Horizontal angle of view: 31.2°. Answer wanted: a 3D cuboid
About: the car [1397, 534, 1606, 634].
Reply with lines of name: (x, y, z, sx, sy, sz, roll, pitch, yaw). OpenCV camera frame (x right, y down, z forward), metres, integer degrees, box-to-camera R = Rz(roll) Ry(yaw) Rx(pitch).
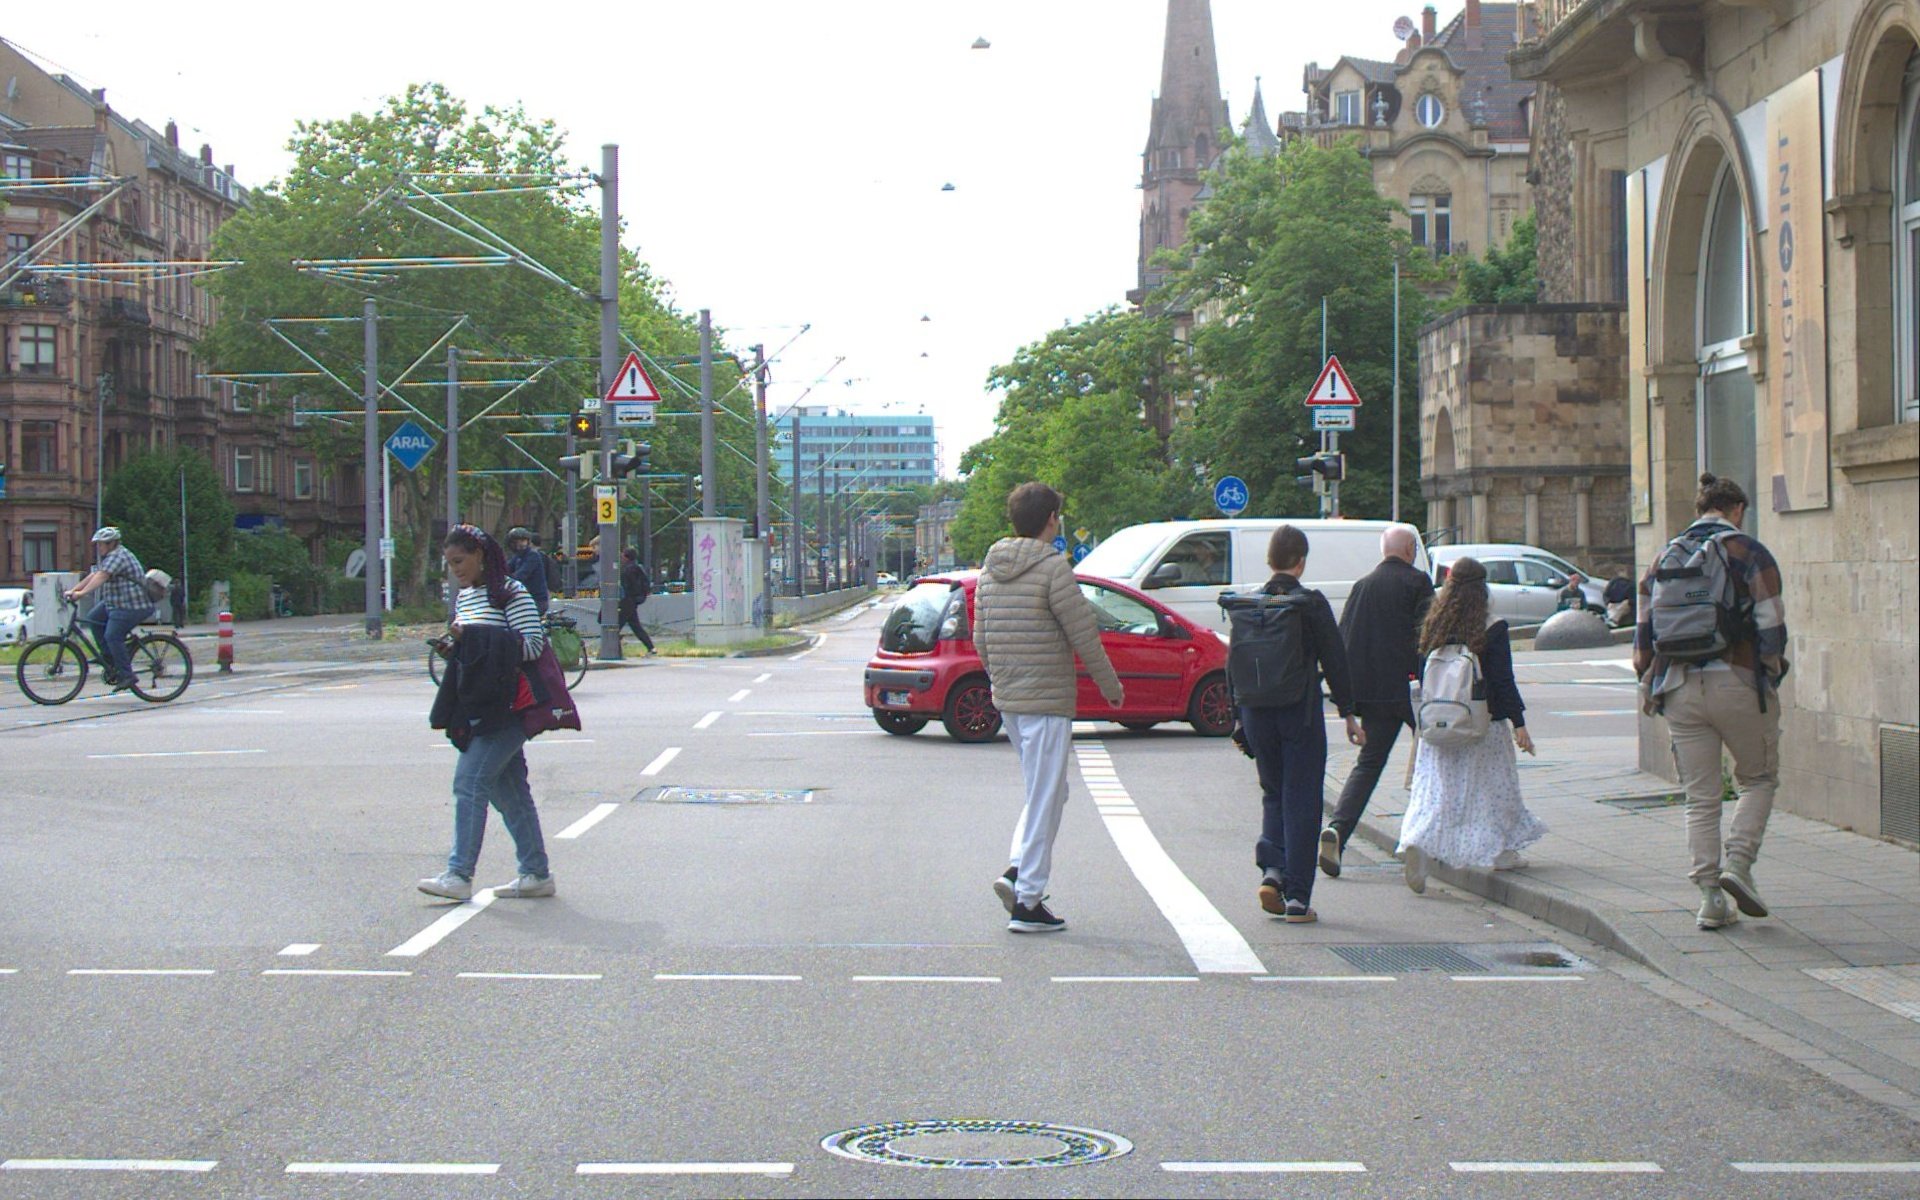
car: (10.737, -0.327, 68.343, 3.799, 1.897, 2.000, 1, 0, 0)

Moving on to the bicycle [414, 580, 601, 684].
bicycle: (-5.054, 0.360, 38.419, 1.937, 1.132, 0.736, 1, 0, -21)

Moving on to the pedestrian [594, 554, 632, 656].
pedestrian: (-5.279, 0.072, 52.335, 0.545, 1.532, 0.466, 1, 0, -5)

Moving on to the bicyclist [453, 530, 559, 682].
bicyclist: (-5.080, 0.065, 38.443, 1.038, 1.678, 0.645, 1, 0, -20)

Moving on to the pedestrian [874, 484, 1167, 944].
pedestrian: (0.242, 0.450, 13.956, 1.011, 1.807, 0.585, 1, 0, -23)

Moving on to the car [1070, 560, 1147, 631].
car: (4.287, -0.141, 99.697, 1.993, 2.007, 4.000, 1, 0, -1)

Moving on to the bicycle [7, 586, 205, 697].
bicycle: (-8.948, 0.436, 36.029, 1.899, 1.138, 0.629, 1, 0, -29)

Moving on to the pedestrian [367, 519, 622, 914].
pedestrian: (-2.042, 0.493, 15.125, 0.671, 1.674, 0.866, 1, 0, 38)

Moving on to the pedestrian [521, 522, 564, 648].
pedestrian: (-6.024, -0.217, 49.582, 0.573, 1.788, 0.519, 1, 0, -5)

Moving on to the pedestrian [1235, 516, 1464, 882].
pedestrian: (1.954, 0.478, 17.255, 0.917, 1.778, 0.646, 1, 0, 37)

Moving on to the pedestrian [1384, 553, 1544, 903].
pedestrian: (2.358, 0.582, 16.125, 0.700, 1.587, 0.831, 1, 0, 8)

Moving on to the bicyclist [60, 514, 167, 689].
bicyclist: (-8.879, 0.020, 36.059, 0.965, 1.813, 0.532, 1, 0, -29)

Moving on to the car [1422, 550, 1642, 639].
car: (10.773, -0.114, 64.933, 3.799, 1.595, 2.000, 1, 0, 0)

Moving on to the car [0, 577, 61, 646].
car: (-22.139, 0.242, 79.182, 1.894, 1.552, 3.836, 1, 0, -1)

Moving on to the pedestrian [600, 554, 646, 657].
pedestrian: (-5.072, 0.075, 51.747, 0.653, 1.532, 0.466, 1, 0, -5)

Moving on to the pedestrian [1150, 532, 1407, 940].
pedestrian: (1.351, 0.549, 14.489, 0.627, 1.647, 0.994, 1, 0, 37)

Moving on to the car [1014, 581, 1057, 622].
car: (3.757, 0.070, 172.472, 1.993, 2.007, 4.000, 1, 0, -1)

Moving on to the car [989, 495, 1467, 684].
car: (2.952, -0.097, 37.710, 4.863, 1.960, 1.989, 1, 0, -26)

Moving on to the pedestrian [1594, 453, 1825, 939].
pedestrian: (2.888, 0.349, 13.193, 0.627, 1.772, 1.132, 0, 0, 25)
